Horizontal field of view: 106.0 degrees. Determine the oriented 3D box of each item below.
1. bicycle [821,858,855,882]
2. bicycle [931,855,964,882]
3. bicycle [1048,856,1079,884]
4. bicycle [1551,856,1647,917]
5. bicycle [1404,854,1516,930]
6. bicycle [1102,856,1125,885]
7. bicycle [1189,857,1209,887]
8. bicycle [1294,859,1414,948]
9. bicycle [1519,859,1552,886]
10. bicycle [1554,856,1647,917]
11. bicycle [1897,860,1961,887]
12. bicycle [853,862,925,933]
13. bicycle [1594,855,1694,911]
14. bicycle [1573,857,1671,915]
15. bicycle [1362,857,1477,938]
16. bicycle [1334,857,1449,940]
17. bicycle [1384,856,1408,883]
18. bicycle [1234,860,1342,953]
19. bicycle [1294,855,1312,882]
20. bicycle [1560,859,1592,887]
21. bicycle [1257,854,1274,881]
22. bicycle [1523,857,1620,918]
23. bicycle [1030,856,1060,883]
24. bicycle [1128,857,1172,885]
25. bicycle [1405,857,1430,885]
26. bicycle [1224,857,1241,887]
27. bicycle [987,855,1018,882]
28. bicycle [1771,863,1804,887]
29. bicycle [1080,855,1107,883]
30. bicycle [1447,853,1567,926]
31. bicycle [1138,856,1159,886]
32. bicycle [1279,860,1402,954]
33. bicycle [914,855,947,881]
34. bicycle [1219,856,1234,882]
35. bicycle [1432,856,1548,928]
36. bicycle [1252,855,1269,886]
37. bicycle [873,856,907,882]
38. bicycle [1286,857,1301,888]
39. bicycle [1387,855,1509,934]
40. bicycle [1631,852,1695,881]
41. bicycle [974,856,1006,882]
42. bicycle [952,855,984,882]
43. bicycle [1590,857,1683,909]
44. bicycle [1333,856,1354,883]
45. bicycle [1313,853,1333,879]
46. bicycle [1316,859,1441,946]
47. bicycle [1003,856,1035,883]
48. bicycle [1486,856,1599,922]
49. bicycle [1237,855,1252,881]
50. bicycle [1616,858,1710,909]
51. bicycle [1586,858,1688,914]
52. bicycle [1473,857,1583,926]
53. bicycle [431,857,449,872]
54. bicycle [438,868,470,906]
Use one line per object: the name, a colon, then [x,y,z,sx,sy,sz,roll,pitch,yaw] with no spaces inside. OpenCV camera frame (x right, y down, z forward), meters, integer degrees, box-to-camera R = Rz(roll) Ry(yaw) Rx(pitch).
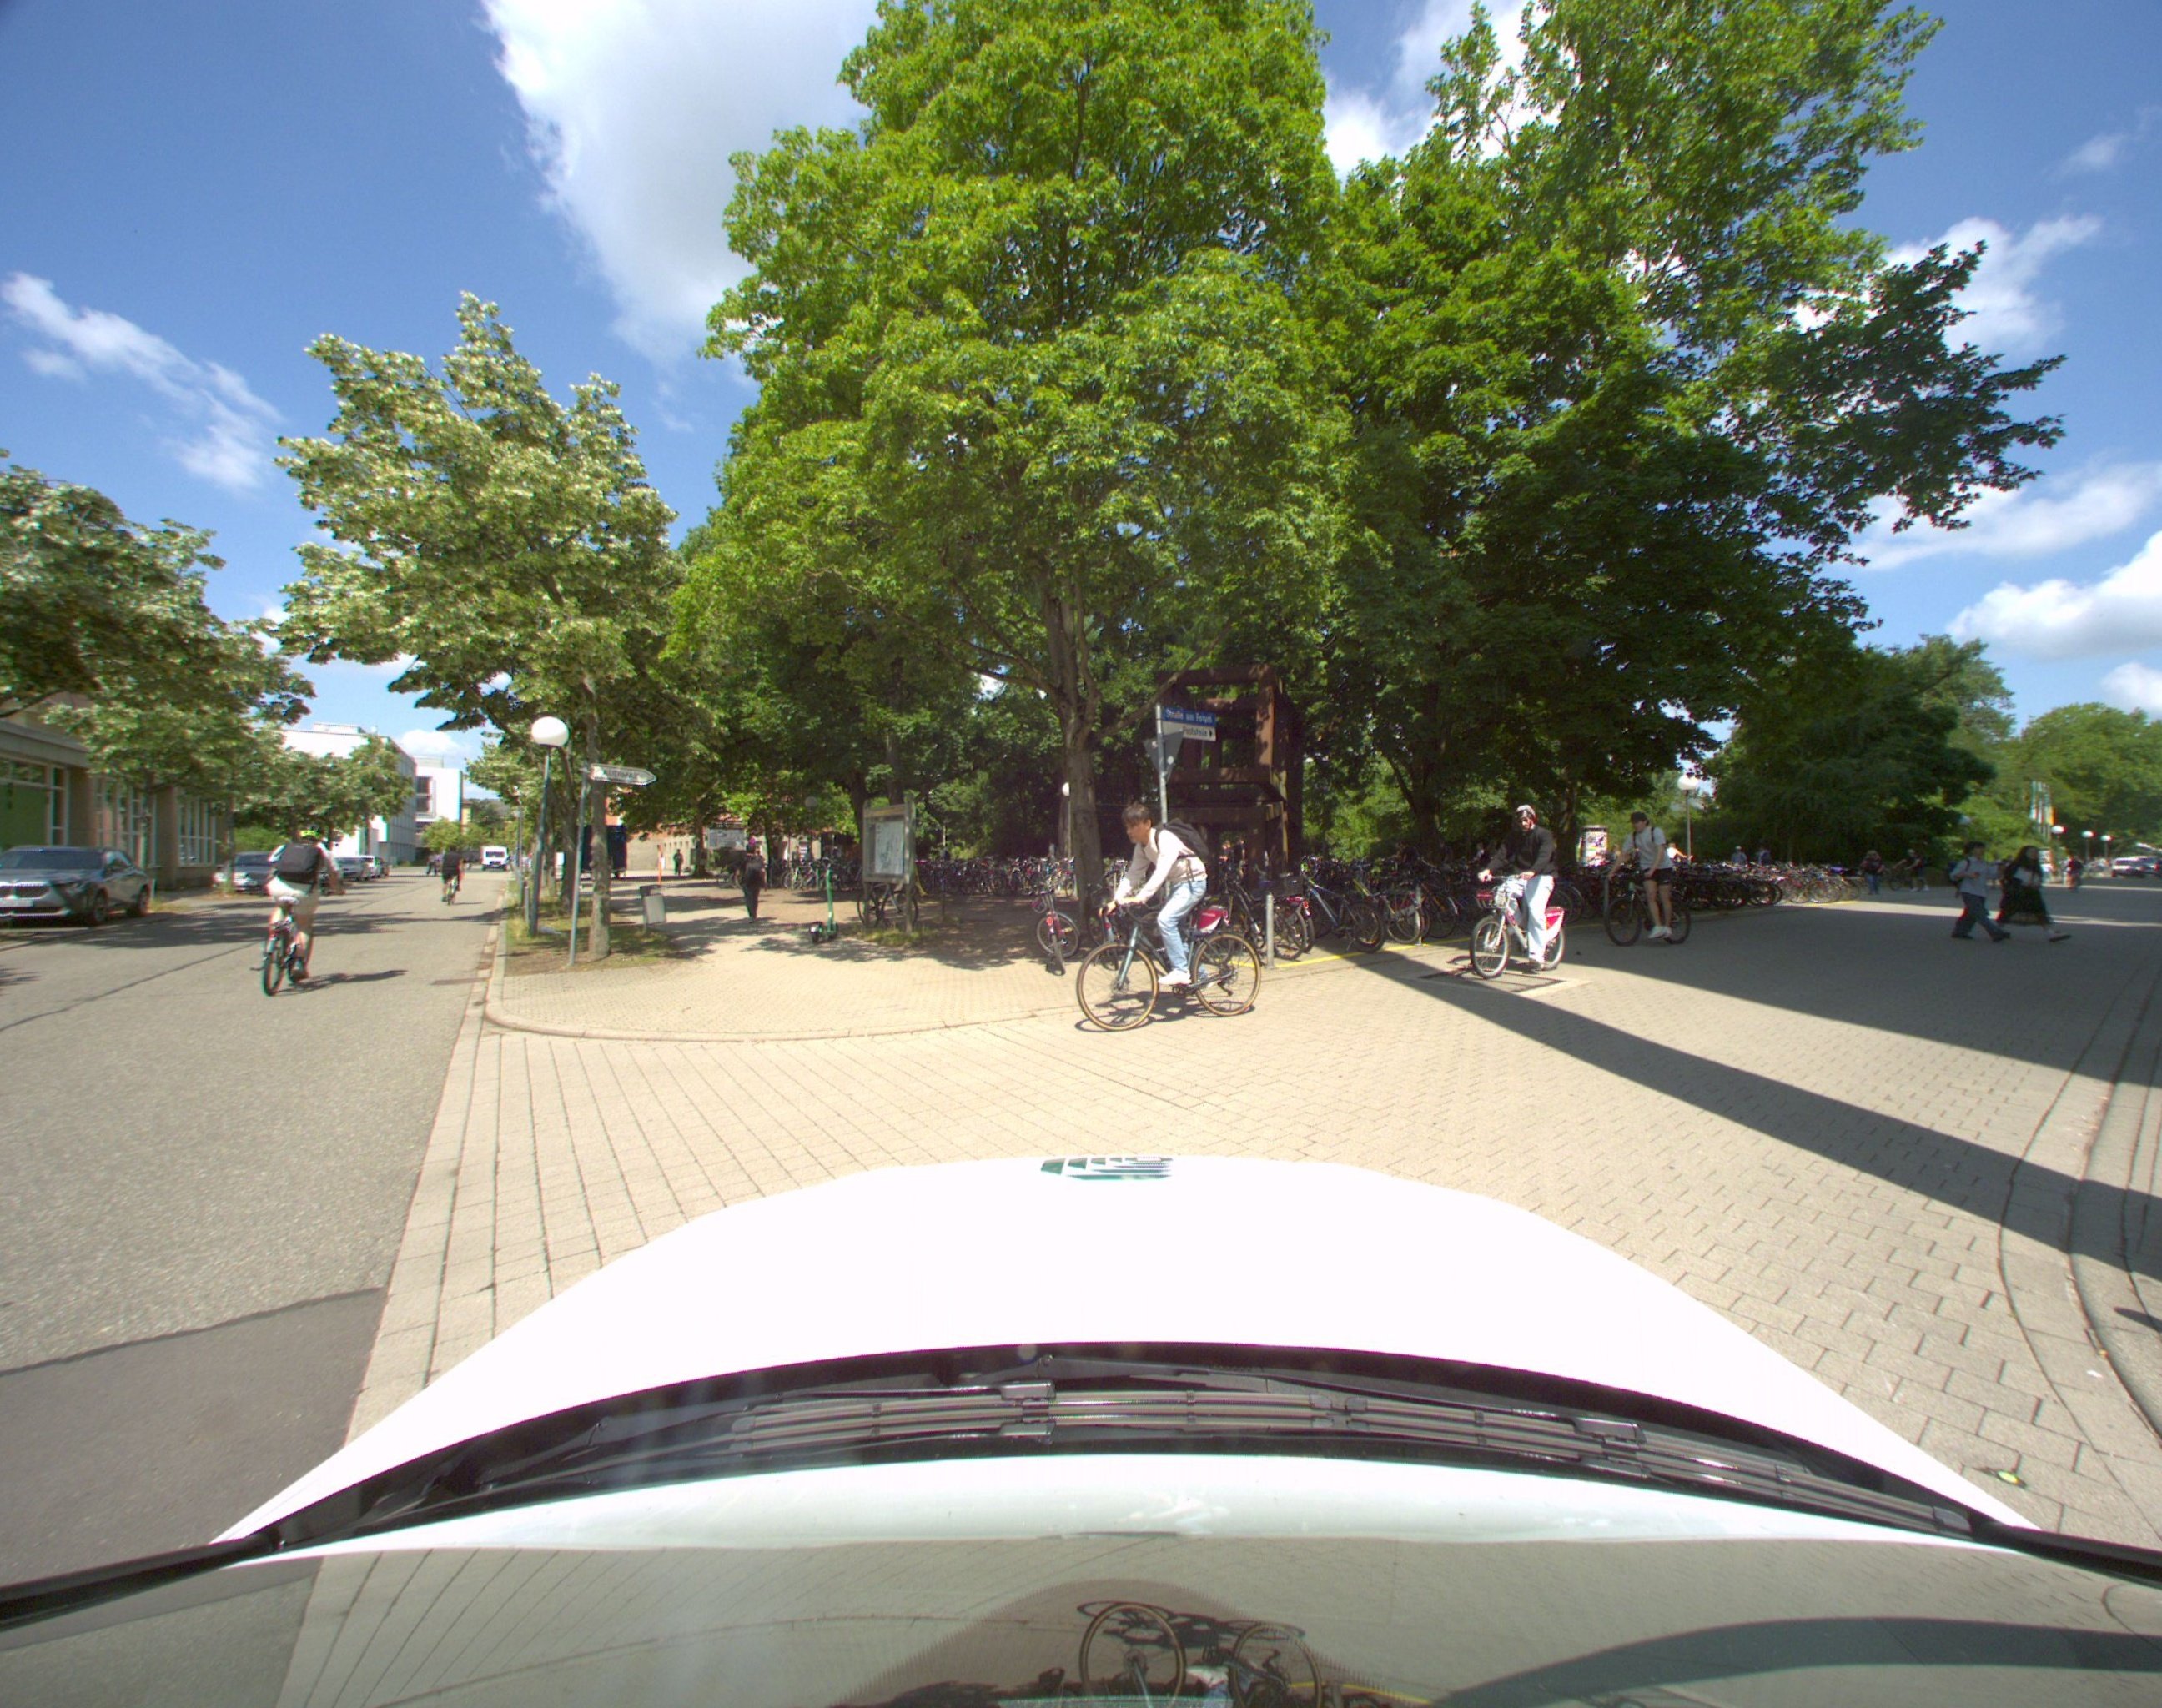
bicycle: [-11.441,0.750,38.387,0.468,1.083,1.709,1,0,26]
bicycle: [-5.702,0.607,34.871,0.468,1.083,1.709,1,0,26]
bicycle: [-0.695,0.611,32.432,0.468,1.083,1.709,1,0,26]
bicycle: [10.209,0.620,16.122,0.497,1.108,1.618,1,0,-21]
bicycle: [6.163,0.589,13.323,0.499,1.150,1.612,1,0,-35]
bicycle: [1.281,0.621,31.588,0.469,1.083,1.707,1,0,16]
bicycle: [4.454,0.643,30.656,0.469,1.083,1.707,1,0,16]
bicycle: [3.723,0.643,11.228,0.498,1.108,1.614,1,0,-30]
bicycle: [19.232,0.767,34.491,0.470,1.110,1.780,1,0,4]
bicycle: [10.589,0.635,16.650,0.497,1.144,1.618,1,0,-21]
bicycle: [36.129,0.814,34.722,1.821,1.110,0.477,1,0,37]
bicycle: [-3.360,0.726,14.161,0.395,1.108,1.817,1,0,-41]
bicycle: [12.348,0.613,17.897,0.499,1.126,1.720,1,0,-40]
bicycle: [11.201,0.645,16.919,0.574,1.108,1.731,1,0,-16]
bicycle: [5.057,0.620,12.266,0.498,1.108,1.614,1,0,-30]
bicycle: [4.546,0.624,12.038,0.507,1.108,1.614,1,0,-30]
bicycle: [13.377,0.654,34.649,0.513,1.110,1.781,1,0,7]
bicycle: [2.711,0.647,10.841,0.497,1.108,1.617,-1,1,-23]
bicycle: [9.622,0.620,35.342,0.513,1.110,1.781,1,0,7]
bicycle: [20.665,0.763,34.006,0.470,1.110,1.782,1,0,9]
bicycle: [8.067,0.566,35.581,0.513,1.110,1.781,1,0,7]
bicycle: [9.616,0.641,16.031,0.563,1.108,1.618,1,0,-21]
bicycle: [-1.448,0.617,33.064,0.468,1.083,1.709,1,0,26]
bicycle: [2.838,0.671,33.487,1.678,1.083,0.608,1,0,34]
bicycle: [14.261,0.696,34.528,0.513,1.110,1.781,1,0,7]
bicycle: [5.650,0.647,30.344,0.469,1.083,1.707,1,0,16]
bicycle: [-3.252,0.610,33.824,0.468,1.083,1.709,1,0,26]
bicycle: [33.337,0.975,38.438,0.469,1.047,1.706,1,0,14]
bicycle: [0.513,0.585,32.123,0.468,1.083,1.708,1,0,21]
bicycle: [7.336,0.583,14.104,0.499,1.161,1.764,1,0,-40]
bicycle: [2.620,0.637,31.375,0.469,1.083,1.707,1,0,16]
bicycle: [3.372,0.653,10.730,0.498,1.108,1.614,1,0,-30]
bicycle: [-6.537,0.610,35.490,0.468,1.083,1.709,1,0,26]
bicycle: [6.379,0.649,35.673,0.513,1.110,1.781,1,0,7]
bicycle: [6.846,0.606,13.692,0.648,1.108,1.611,1,0,-40]
bicycle: [6.624,0.600,30.049,0.469,1.083,1.707,1,0,16]
bicycle: [-8.518,0.660,36.396,0.468,1.083,1.709,1,0,26]
bicycle: [7.756,0.648,29.742,0.469,1.083,1.707,1,0,16]
bicycle: [5.668,0.595,12.656,0.693,1.108,1.614,1,0,-30]
bicycle: [21.866,0.458,30.620,1.885,1.047,0.545,0,1,43]
bicycle: [-3.808,0.617,34.188,0.468,1.083,1.709,1,0,26]
bicycle: [-4.756,0.608,34.368,0.468,1.083,1.709,1,0,26]
bicycle: [12.649,0.641,18.607,1.718,1.108,0.500,1,0,31]
bicycle: [11.395,0.649,35.343,0.513,1.110,1.781,1,0,7]
bicycle: [10.491,0.507,35.306,0.513,1.110,1.781,1,0,7]
bicycle: [4.181,0.645,11.561,0.631,1.108,1.614,1,0,-31]
bicycle: [-2.548,0.615,33.614,0.468,1.083,1.709,1,0,26]
bicycle: [8.477,0.614,15.025,0.720,1.108,1.713,1,0,-24]
bicycle: [7.142,0.588,35.606,0.513,1.110,1.781,1,0,7]
bicycle: [13.488,0.662,18.903,1.719,1.108,0.500,1,0,43]
bicycle: [11.892,0.659,17.460,0.499,1.108,1.722,1,0,-35]
bicycle: [7.811,0.628,14.293,0.499,1.108,1.611,1,0,-40]
bicycle: [-47.701,0.751,60.619,1.678,1.083,0.477,1,0,32]
bicycle: [-19.174,0.984,24.887,0.674,1.108,2.048,-1,0,-41]
